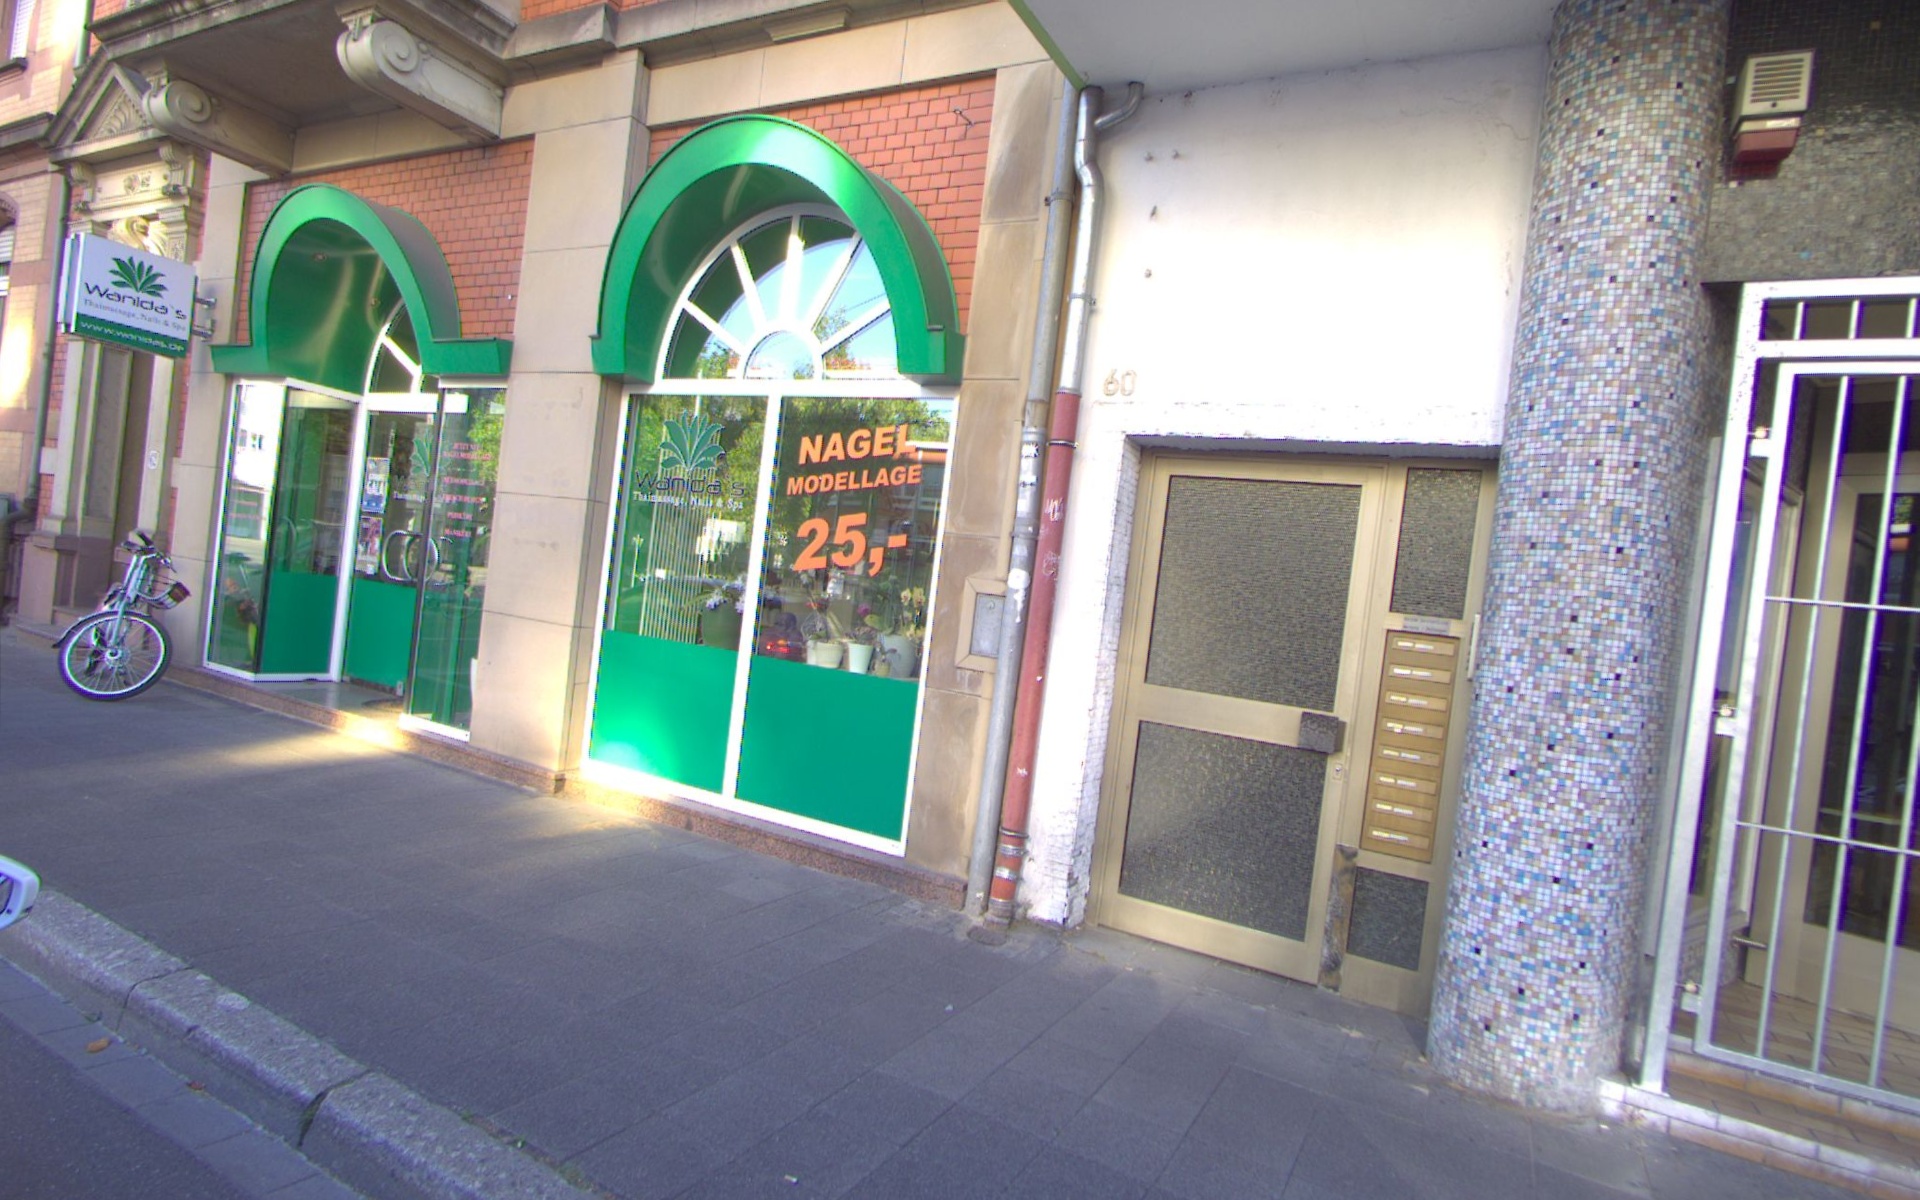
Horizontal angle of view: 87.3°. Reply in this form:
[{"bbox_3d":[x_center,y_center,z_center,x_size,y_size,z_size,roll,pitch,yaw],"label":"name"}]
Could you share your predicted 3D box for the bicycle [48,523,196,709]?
[{"bbox_3d":[-6.193,0.085,7.409,0.712,1.167,1.635,4,2,-42],"label":"bicycle"}]
